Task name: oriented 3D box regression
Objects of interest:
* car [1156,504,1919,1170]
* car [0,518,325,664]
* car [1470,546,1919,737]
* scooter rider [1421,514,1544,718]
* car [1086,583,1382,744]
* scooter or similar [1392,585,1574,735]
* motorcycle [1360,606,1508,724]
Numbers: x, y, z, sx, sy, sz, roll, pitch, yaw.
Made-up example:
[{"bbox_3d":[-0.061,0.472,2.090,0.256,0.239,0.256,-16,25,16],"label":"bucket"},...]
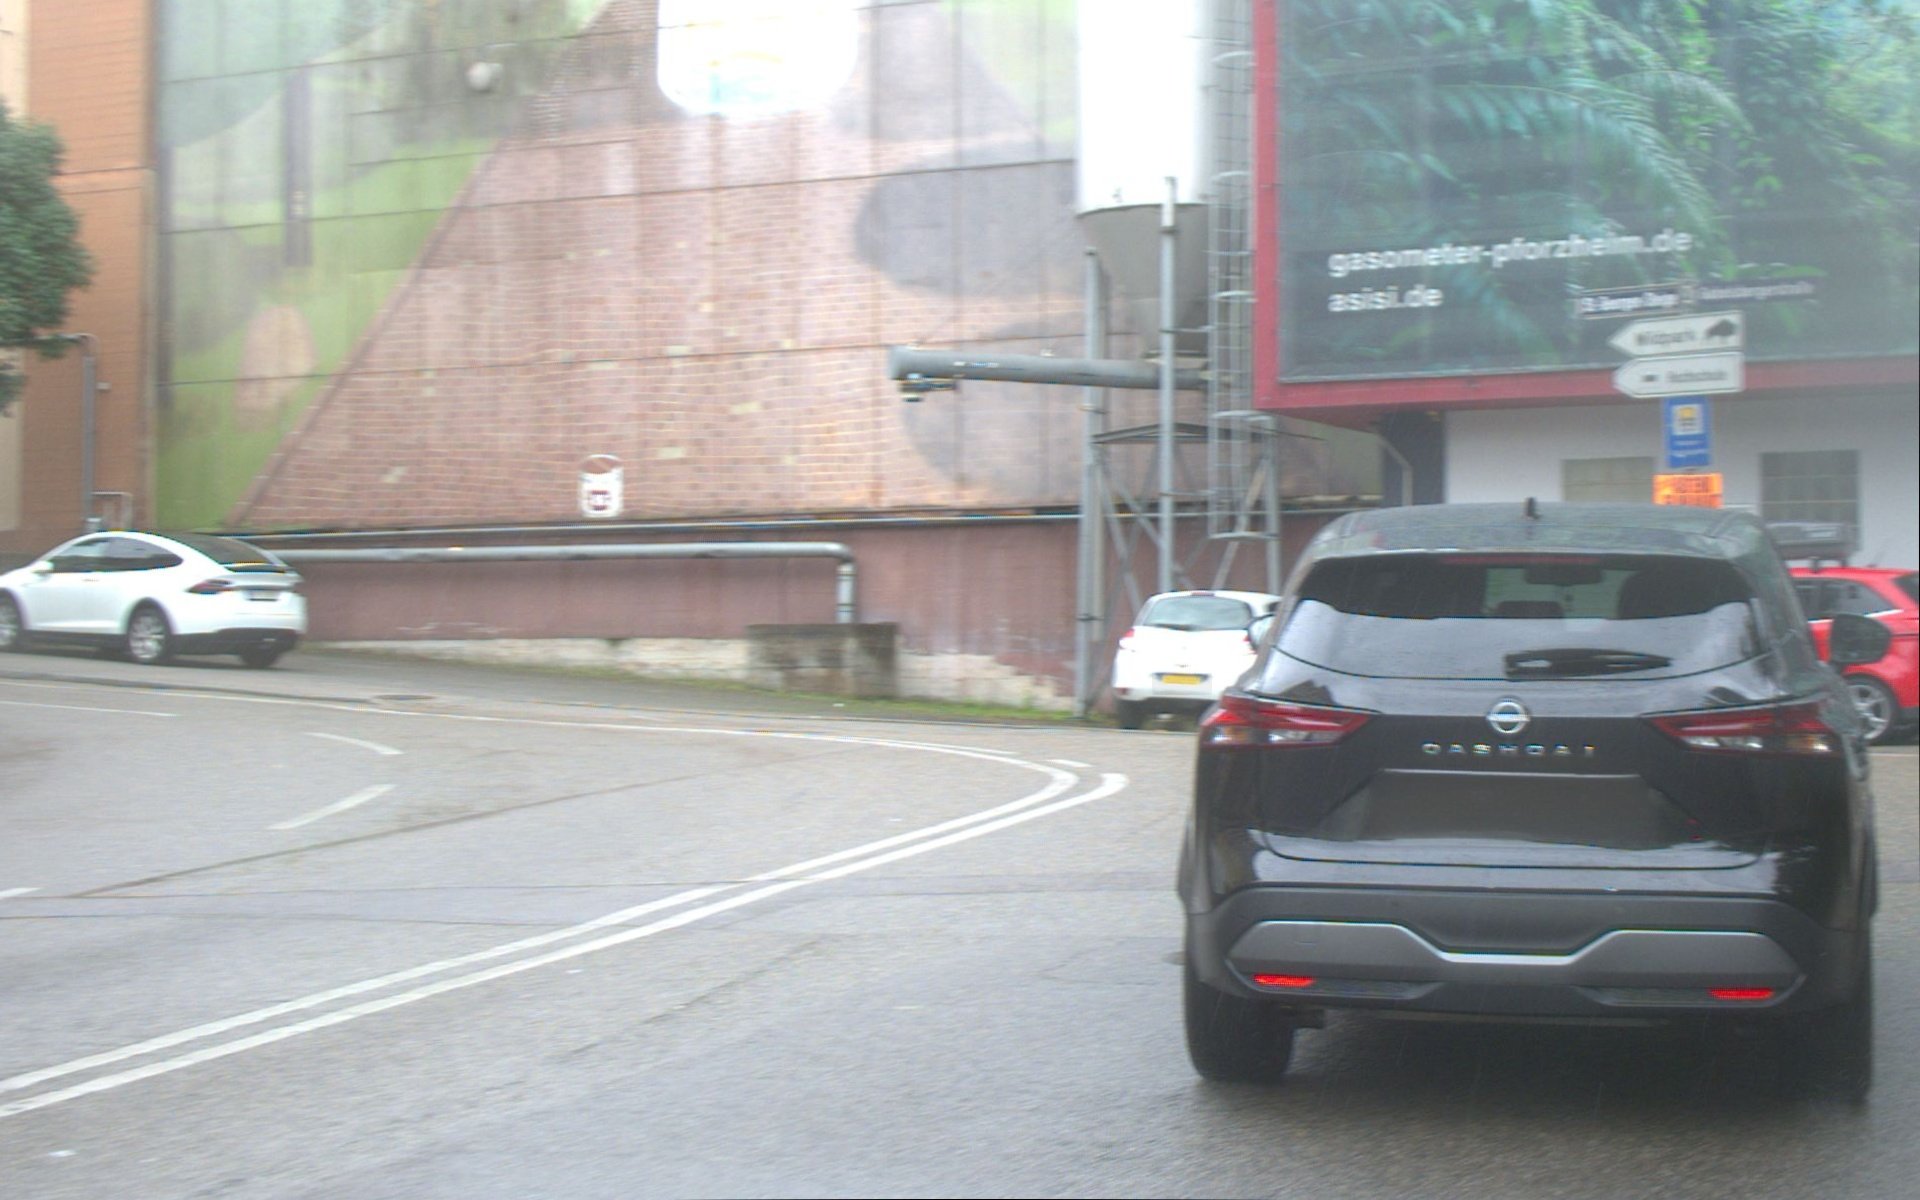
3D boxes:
[{"bbox_3d":[1.785,0.511,10.339,1.882,1.588,3.919,0,2,11],"label":"car"},{"bbox_3d":[-10.625,-0.144,44.491,4.910,1.612,1.855,4,1,37],"label":"car"},{"bbox_3d":[7.269,0.381,32.405,4.484,1.706,1.929,0,-1,28],"label":"car"},{"bbox_3d":[4.738,0.142,31.186,0.781,1.815,0.803,-1,0,39],"label":"scooter rider"},{"bbox_3d":[2.961,0.619,36.333,1.872,1.528,3.987,0,1,24],"label":"car"},{"bbox_3d":[4.742,0.538,31.189,1.407,1.318,0.803,-1,0,40],"label":"scooter or similar"},{"bbox_3d":[4.753,0.652,34.462,1.419,1.157,0.451,0,-2,16],"label":"motorcycle"}]
